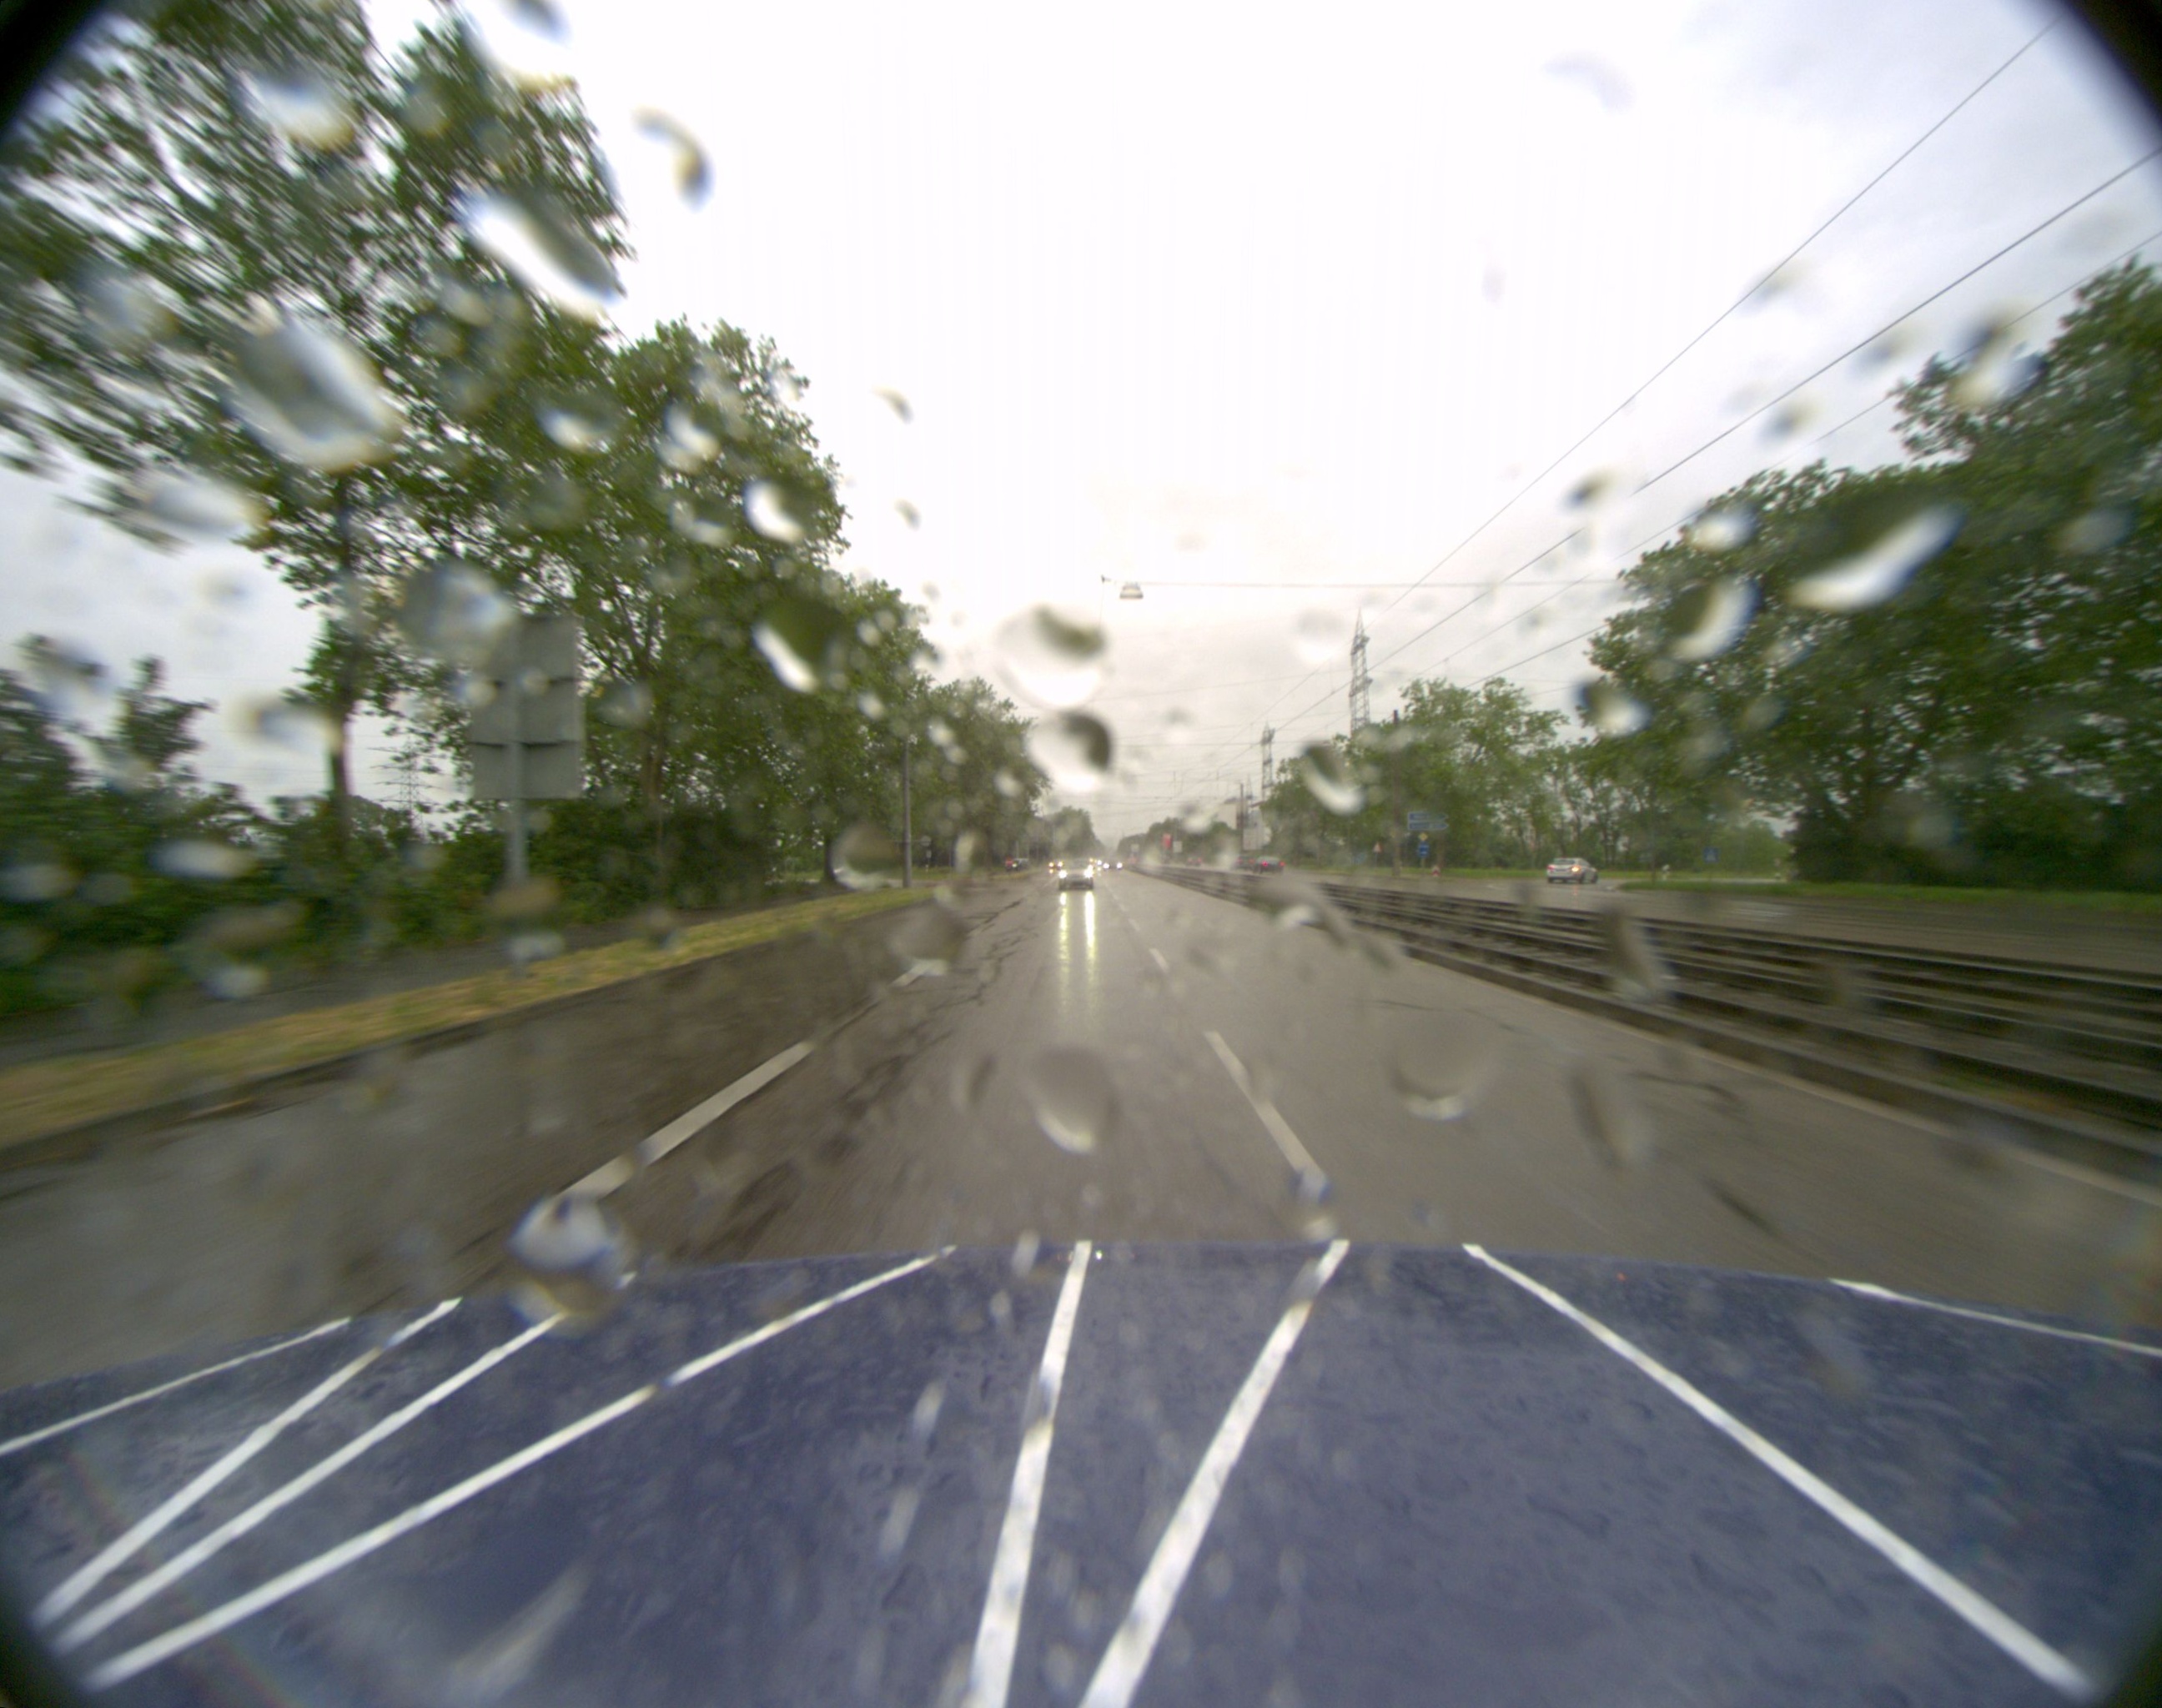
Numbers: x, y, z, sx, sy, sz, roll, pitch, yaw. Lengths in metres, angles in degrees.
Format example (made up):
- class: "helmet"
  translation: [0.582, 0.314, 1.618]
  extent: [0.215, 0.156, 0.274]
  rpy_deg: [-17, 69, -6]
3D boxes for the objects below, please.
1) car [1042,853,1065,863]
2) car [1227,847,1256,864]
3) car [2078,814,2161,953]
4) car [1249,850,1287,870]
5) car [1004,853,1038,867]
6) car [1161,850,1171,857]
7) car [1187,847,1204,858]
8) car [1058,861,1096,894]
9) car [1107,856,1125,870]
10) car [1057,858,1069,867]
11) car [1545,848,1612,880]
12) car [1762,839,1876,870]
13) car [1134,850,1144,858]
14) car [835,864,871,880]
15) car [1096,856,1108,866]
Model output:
- class: "car"
  translation: [-4.011, 0.622, 111.067]
  extent: [1.781, 1.419, 4.007]
  rpy_deg: [-2, -1, 22]
- class: "car"
  translation: [17.196, 0.218, 81.700]
  extent: [1.824, 1.695, 6.105]
  rpy_deg: [-2, -1, 1]
- class: "car"
  translation: [19.185, 0.427, 10.315]
  extent: [2.104, 2.329, 6.990]
  rpy_deg: [-2, -1, 1]
- class: "car"
  translation: [15.843, 0.513, 64.602]
  extent: [1.780, 1.575, 5.682]
  rpy_deg: [-2, -1, 0]
- class: "car"
  translation: [-7.724, 0.715, 97.749]
  extent: [1.794, 1.692, 4.772]
  rpy_deg: [-3, -1, 32]
- class: "car"
  translation: [19.602, -0.107, 174.943]
  extent: [1.693, 1.543, 4.000]
  rpy_deg: [-2, -1, 0]
- class: "car"
  translation: [17.419, -0.233, 116.153]
  extent: [1.795, 1.540, 5.313]
  rpy_deg: [-2, -1, 0]
- class: "car"
  translation: [-0.179, 1.150, 38.430]
  extent: [1.807, 1.521, 3.645]
  rpy_deg: [-2, -1, 0]
- class: "car"
  translation: [3.889, 0.989, 85.369]
  extent: [1.807, 1.521, 3.645]
  rpy_deg: [-2, -1, 0]
- class: "car"
  translation: [-3.031, 1.490, 129.314]
  extent: [1.783, 1.419, 4.001]
  rpy_deg: [-1, -1, 2]
- class: "car"
  translation: [29.563, 0.565, 45.069]
  extent: [5.030, 1.696, 1.821]
  rpy_deg: [-2, -1, -39]
- class: "car"
  translation: [47.043, 0.043, 48.561]
  extent: [4.754, 1.787, 2.092]
  rpy_deg: [-2, 0, 17]
- class: "car"
  translation: [14.734, 0.073, 193.056]
  extent: [1.892, 1.798, 5.004]
  rpy_deg: [-2, -1, -1]
- class: "car"
  translation: [-23.834, 1.886, 79.498]
  extent: [3.252, 1.477, 1.607]
  rpy_deg: [-2, -1, -35]
- class: "car"
  translation: [3.508, 1.167, 127.153]
  extent: [1.807, 1.521, 3.645]
  rpy_deg: [-2, -1, 0]
